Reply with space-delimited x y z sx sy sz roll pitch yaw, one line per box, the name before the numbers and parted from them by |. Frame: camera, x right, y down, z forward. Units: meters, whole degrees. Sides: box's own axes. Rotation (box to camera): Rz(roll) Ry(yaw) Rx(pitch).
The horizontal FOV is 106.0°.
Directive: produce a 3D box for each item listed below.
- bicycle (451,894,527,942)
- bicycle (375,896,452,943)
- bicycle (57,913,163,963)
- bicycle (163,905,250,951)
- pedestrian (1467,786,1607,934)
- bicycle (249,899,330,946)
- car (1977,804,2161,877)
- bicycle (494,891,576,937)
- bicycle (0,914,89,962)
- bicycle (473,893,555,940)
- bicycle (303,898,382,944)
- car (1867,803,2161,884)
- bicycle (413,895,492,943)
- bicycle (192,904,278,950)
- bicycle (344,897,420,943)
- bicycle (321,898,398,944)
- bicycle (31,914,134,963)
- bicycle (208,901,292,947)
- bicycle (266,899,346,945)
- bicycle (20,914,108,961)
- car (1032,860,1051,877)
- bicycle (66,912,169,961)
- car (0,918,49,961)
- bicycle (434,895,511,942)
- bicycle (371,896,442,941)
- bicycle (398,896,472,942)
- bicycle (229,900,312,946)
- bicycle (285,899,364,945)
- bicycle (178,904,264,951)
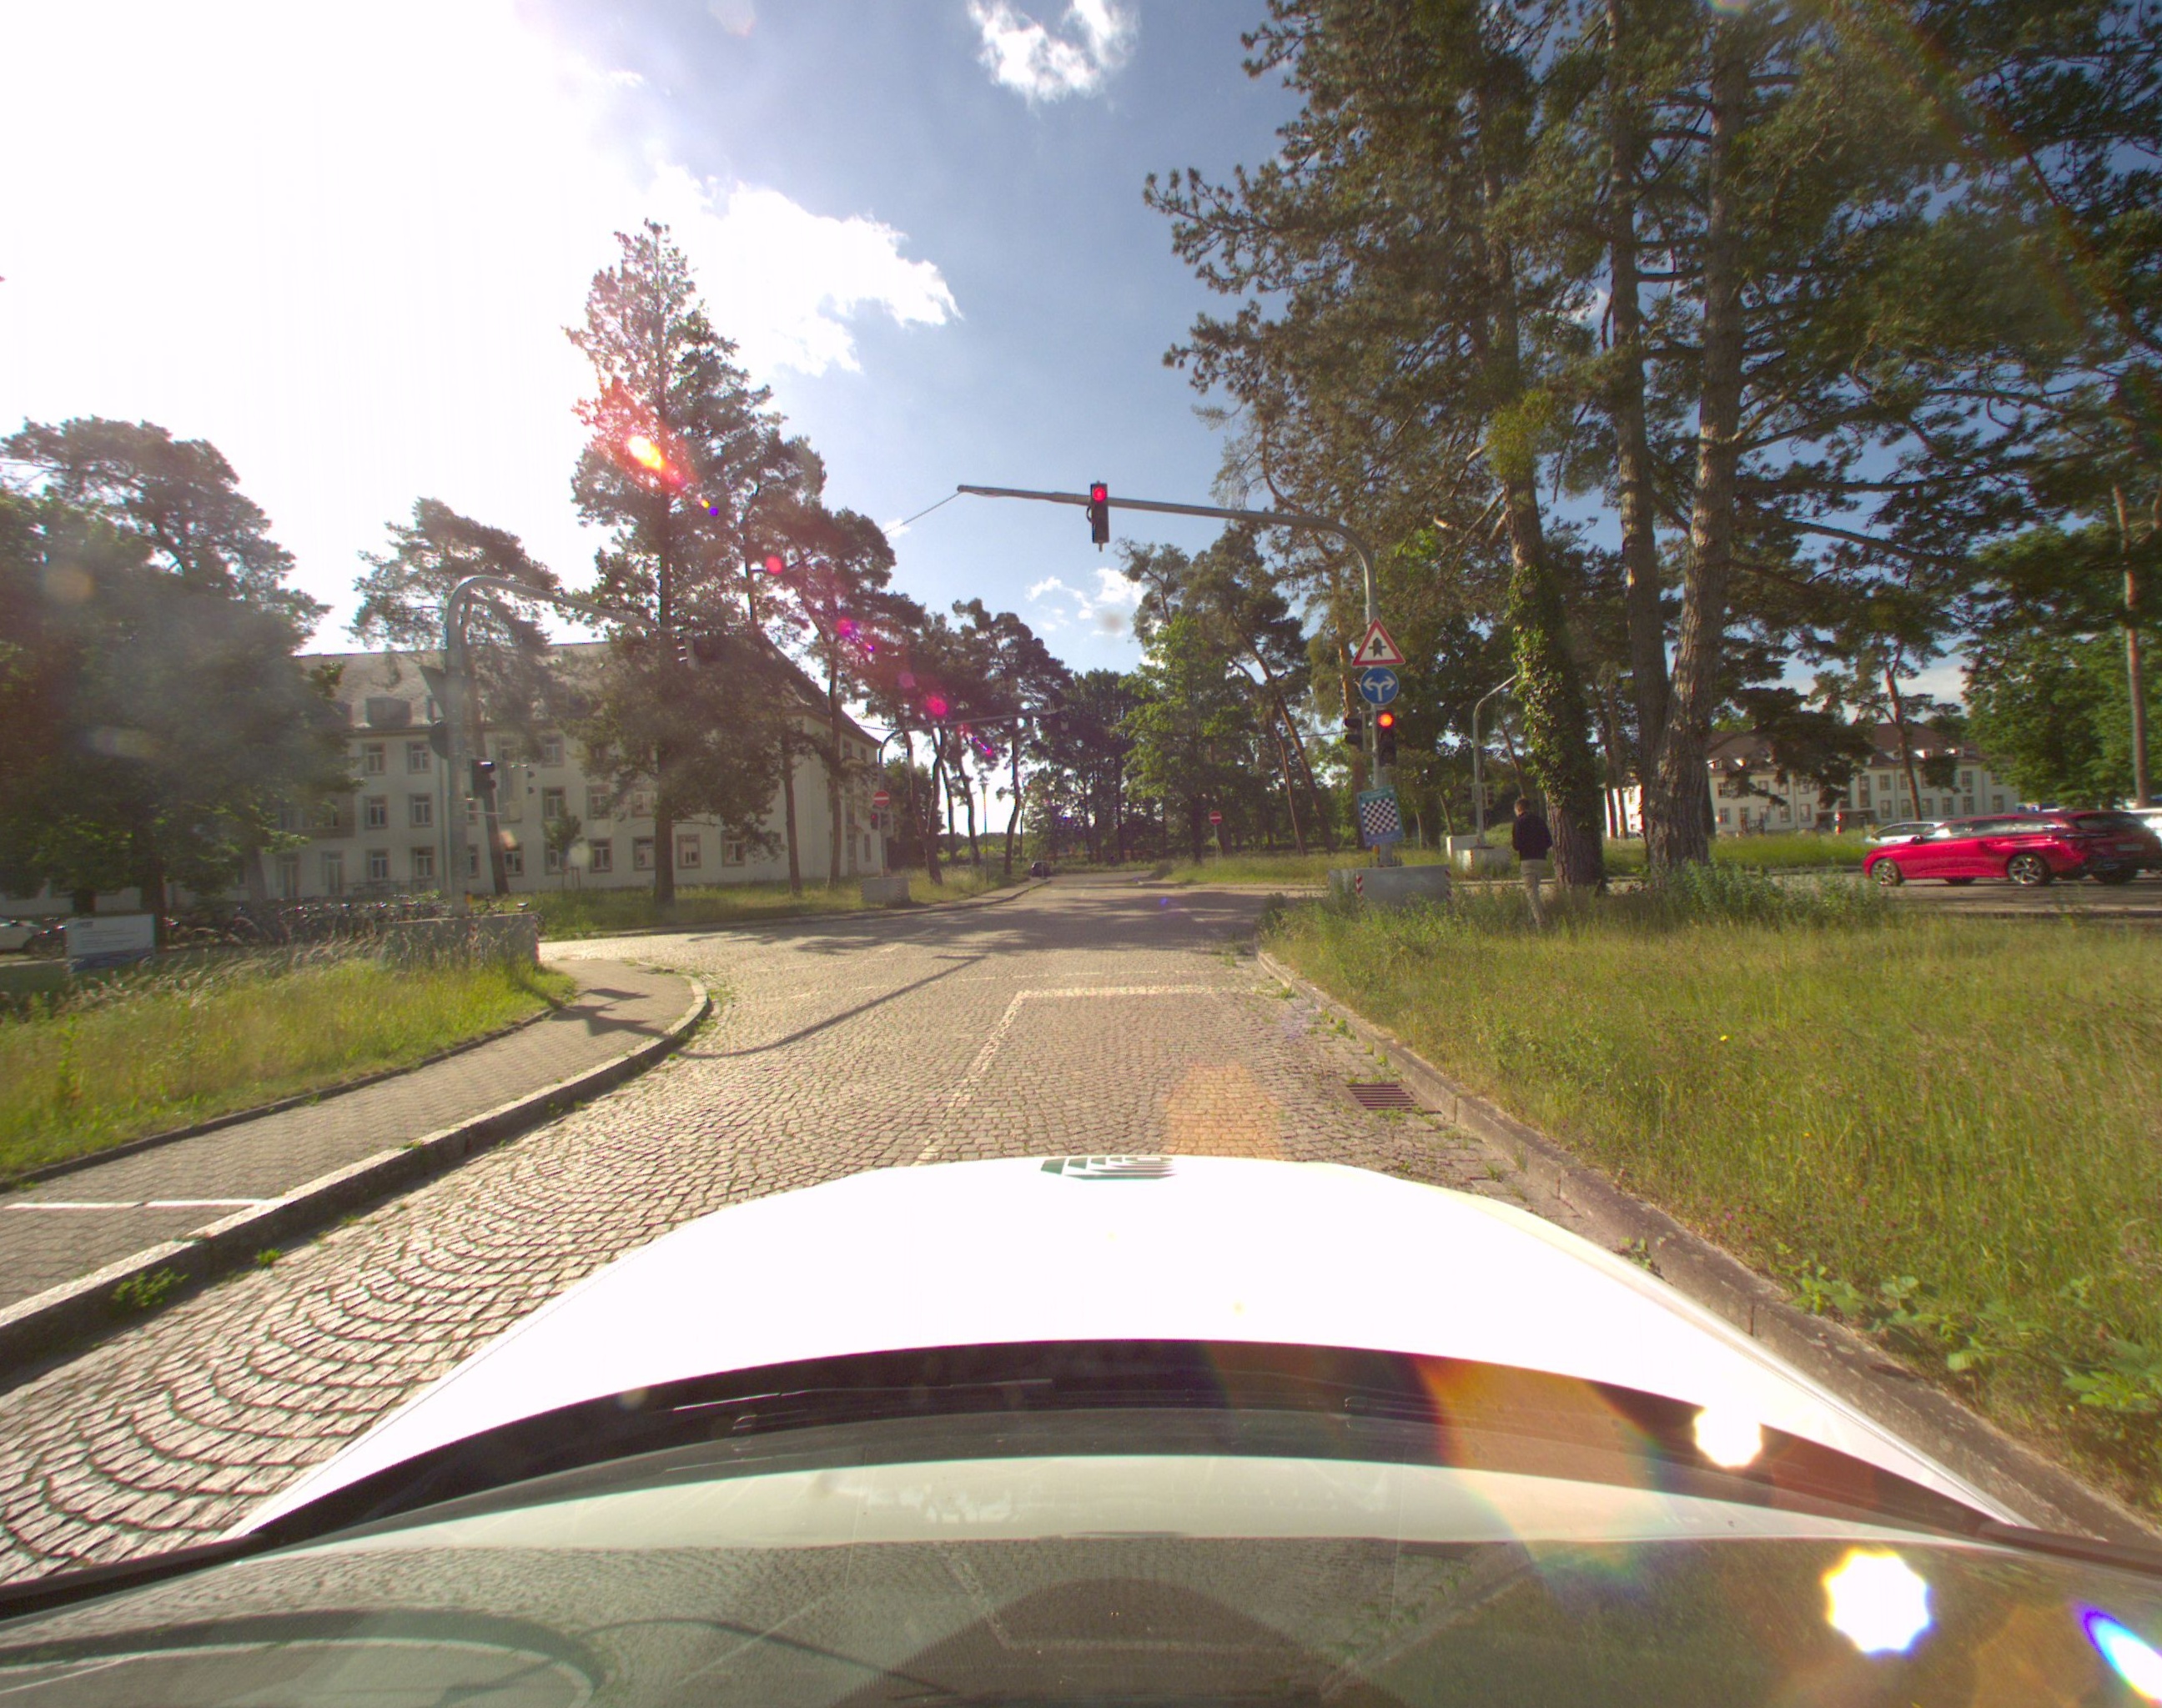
bicycle | -17.542 1.875 24.203 0.631 1.220 2.114 -3 0 1
bicycle | -20.223 1.958 24.725 0.576 1.220 2.029 -3 0 1
bicycle | -27.605 2.365 23.197 1.837 1.220 0.510 -3 0 -35
bicycle | -26.636 2.227 24.856 0.512 1.220 1.937 -3 0 1
pedestrian | 5.947 0.072 10.706 1.164 1.796 1.063 -3 0 0
bicycle | -24.097 2.062 24.832 0.512 1.220 1.937 -3 0 1
car | 21.677 -0.281 16.728 1.773 1.379 4.239 -3 -2 0
bicycle | -16.185 1.770 24.153 1.938 1.220 0.635 -3 0 0
bicycle | -31.047 2.493 24.403 0.513 1.220 1.824 -3 0 -7
bicycle | -16.300 1.792 23.439 1.855 1.220 0.635 -3 0 0
bicycle | -22.471 2.018 24.826 0.512 1.220 1.977 -3 0 1
car | 18.802 -0.151 16.561 1.649 1.399 4.130 -2 -1 1
bicycle | -18.629 1.908 24.204 0.631 1.220 2.104 -3 0 1
bicycle | -25.759 2.202 24.846 0.512 1.220 1.937 -3 0 1
bicycle | -21.305 1.988 24.876 0.512 1.220 2.016 -3 0 1
bicycle | -21.954 2.007 24.831 0.512 1.220 1.977 -3 0 1
bicycle | -29.104 2.444 23.766 0.509 1.220 1.841 -3 0 38
bicycle | -25.300 2.097 24.842 0.512 1.220 1.937 -3 0 1
bicycle | -23.552 2.046 24.808 0.512 1.220 1.937 -3 0 1
bicycle | -30.441 2.476 24.417 0.514 1.220 1.823 -3 0 -9
car | -3.909 1.430 80.671 1.705 1.496 3.917 -3 0 -1
bicycle | -27.994 2.371 23.706 1.837 1.220 0.510 -3 0 -35
car | -34.067 2.713 24.421 1.504 1.211 3.596 -3 0 3
bicycle | -18.026 1.890 24.196 0.631 1.220 2.124 -3 0 1
bicycle | -20.788 1.974 25.149 0.546 1.220 1.900 -3 0 1
bicycle | -19.478 1.934 24.593 0.570 1.220 1.990 -3 0 1
bicycle | -24.690 2.079 24.852 0.512 1.220 1.937 -3 0 1
bicycle | -22.997 2.030 24.795 0.512 1.220 1.954 -3 0 1
bicycle | -26.189 2.214 24.847 0.512 1.220 1.937 -3 0 1
